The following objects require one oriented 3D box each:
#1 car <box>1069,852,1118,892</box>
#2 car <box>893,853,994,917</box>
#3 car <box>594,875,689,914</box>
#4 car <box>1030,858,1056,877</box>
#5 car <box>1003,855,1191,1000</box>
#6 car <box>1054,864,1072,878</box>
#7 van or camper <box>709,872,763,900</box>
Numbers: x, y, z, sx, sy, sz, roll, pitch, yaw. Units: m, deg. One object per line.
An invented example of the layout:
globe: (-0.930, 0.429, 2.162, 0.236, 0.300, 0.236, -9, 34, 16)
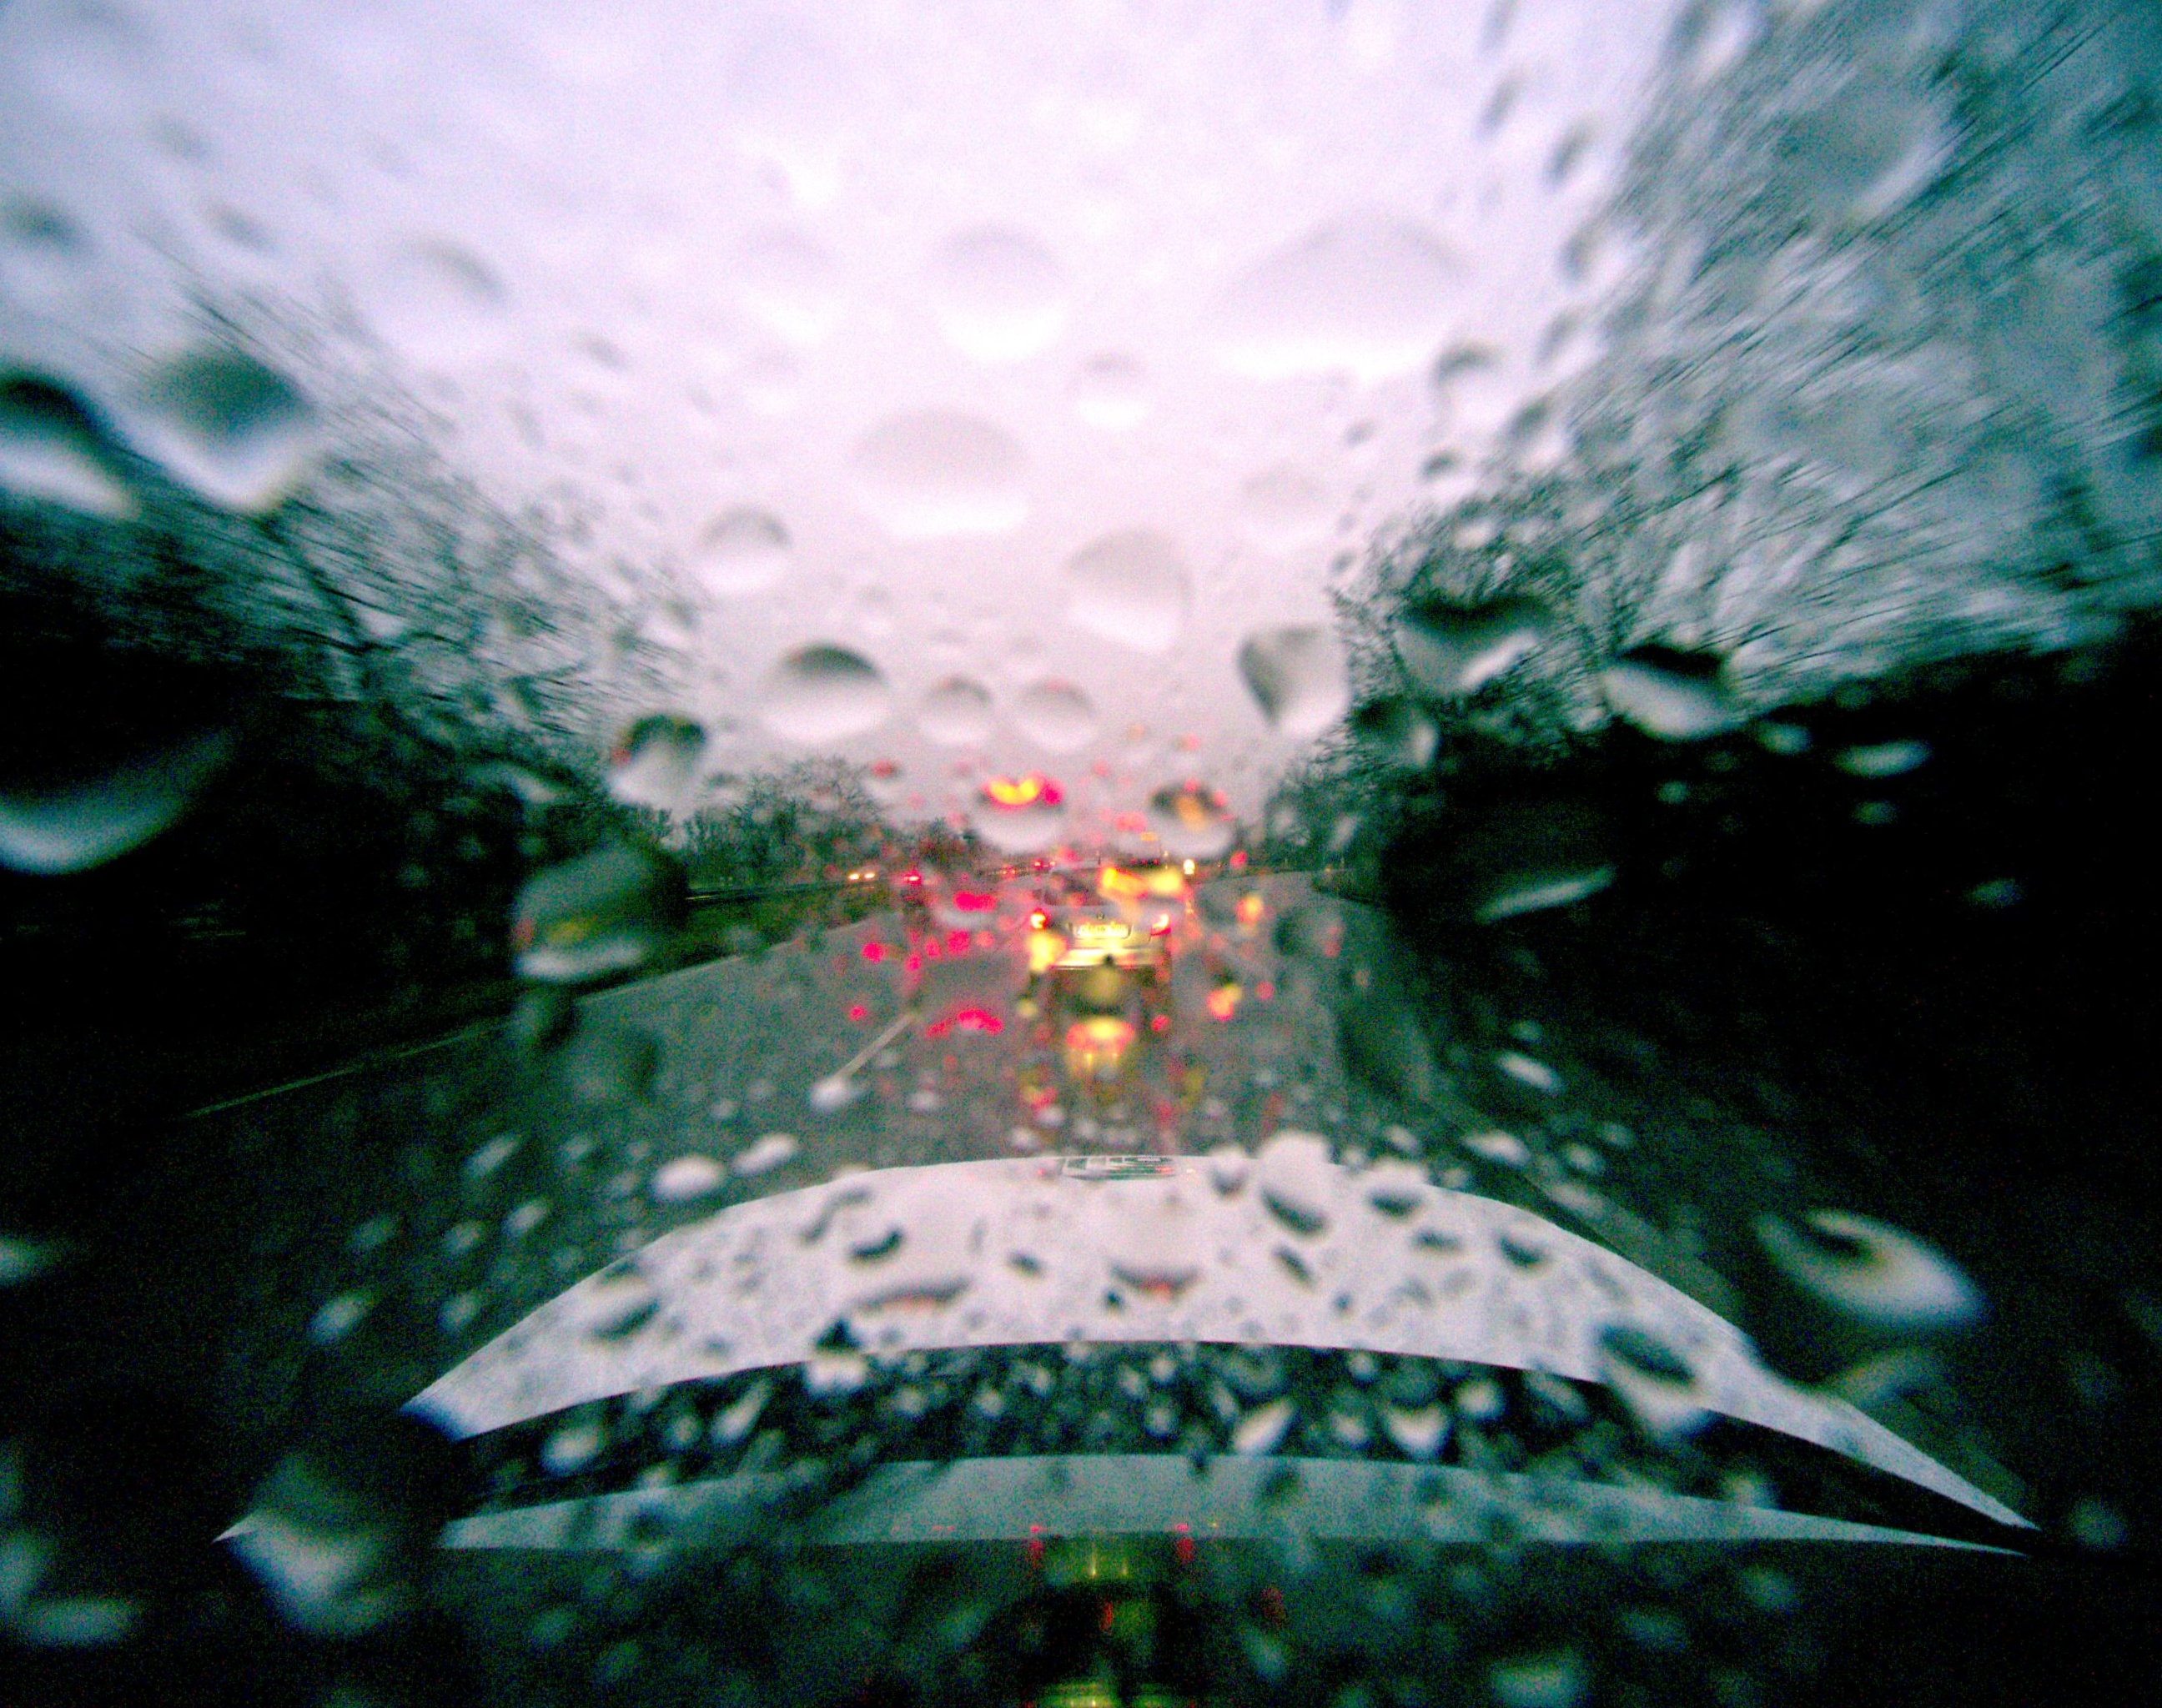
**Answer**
car: (0.555, 0.833, 40.144, 1.895, 1.767, 4.300, -3, 0, -5)
car: (-3.722, 0.796, 22.853, 1.986, 1.601, 4.310, -1, 0, 1)
car: (-19.993, 1.808, 37.294, 1.642, 1.566, 4.601, -2, -1, 3)
car: (-3.302, 1.174, 71.341, 1.782, 1.545, 4.003, -3, 0, 3)
car: (0.282, 0.826, 10.936, 1.985, 1.500, 4.141, -2, -1, 3)
car: (-2.071, 1.969, 95.244, 1.782, 1.545, 4.003, -3, -1, 3)
van or camper: (-23.597, 2.161, 55.838, 1.642, 1.784, 4.211, -2, -1, 3)
